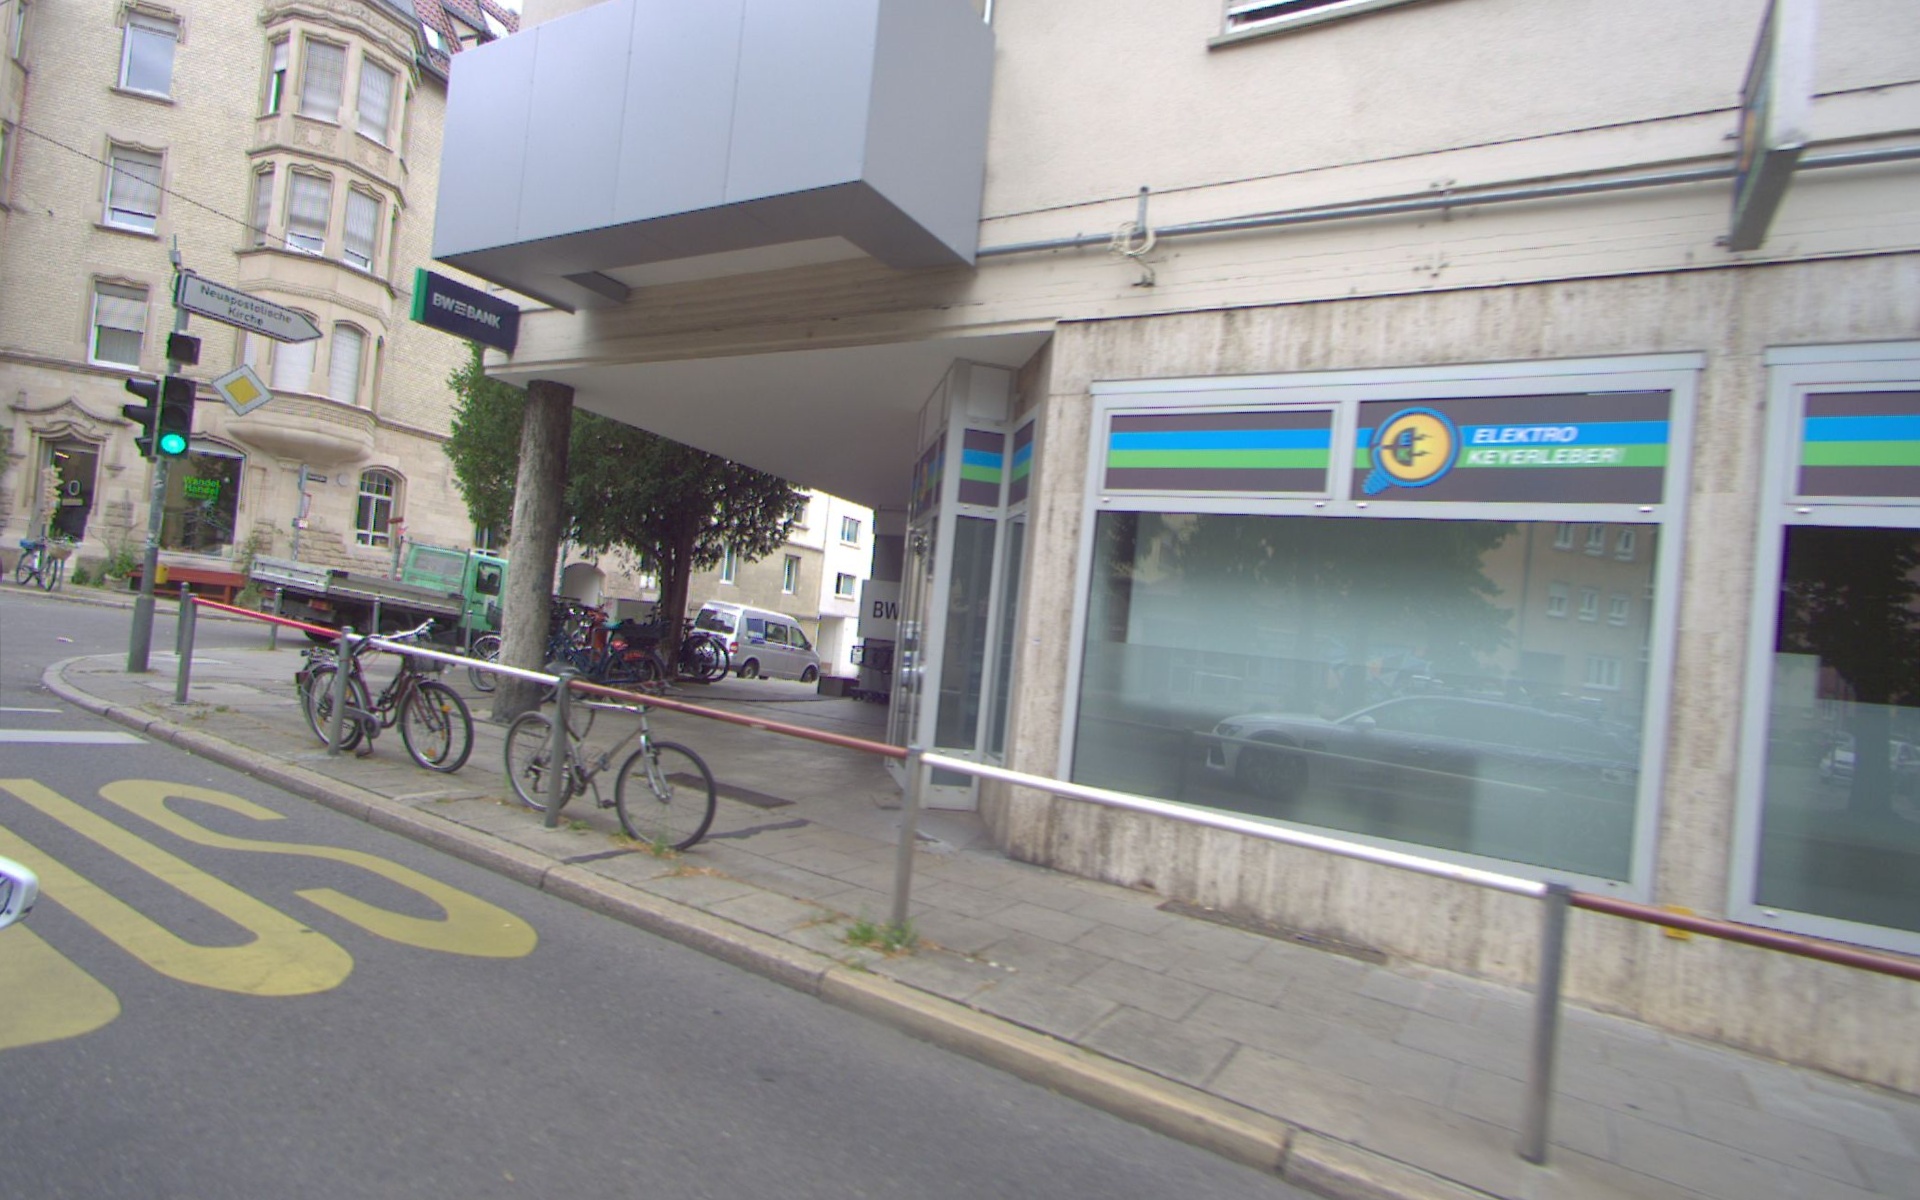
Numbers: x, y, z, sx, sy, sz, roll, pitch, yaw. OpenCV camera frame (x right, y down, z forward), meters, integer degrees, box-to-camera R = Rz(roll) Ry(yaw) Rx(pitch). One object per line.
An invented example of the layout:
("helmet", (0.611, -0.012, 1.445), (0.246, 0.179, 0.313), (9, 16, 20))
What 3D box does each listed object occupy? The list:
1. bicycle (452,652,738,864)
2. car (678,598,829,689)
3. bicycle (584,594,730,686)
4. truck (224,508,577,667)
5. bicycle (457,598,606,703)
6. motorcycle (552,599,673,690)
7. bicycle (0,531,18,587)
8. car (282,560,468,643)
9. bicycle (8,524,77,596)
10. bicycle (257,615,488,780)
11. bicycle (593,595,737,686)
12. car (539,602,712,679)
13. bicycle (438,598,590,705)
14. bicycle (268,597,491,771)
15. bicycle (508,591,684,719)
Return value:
("bicycle", (-2.229, 0.893, 6.060), (1.745, 0.942, 0.570), (6, -2, 32))
("car", (-6.000, 1.362, 29.778), (1.849, 2.150, 4.481), (6, -4, 25))
("bicycle", (-4.869, 0.632, 16.148), (2.283, 1.201, 0.278), (7, -1, 12))
("truck", (-10.515, -0.069, 19.600), (2.338, 2.155, 5.586), (7, -4, 22))
("bicycle", (-5.267, 0.613, 12.347), (1.727, 1.055, 0.319), (7, -1, 14))
("motorcycle", (-5.127, 0.641, 14.806), (1.772, 1.118, 0.571), (6, -2, 32))
("bicycle", (-19.917, -0.917, 20.548), (1.803, 1.070, 0.350), (7, -3, 30))
("car", (-14.222, 0.089, 24.641), (1.832, 1.498, 3.373), (6, -4, 25))
("bicycle", (-19.160, -0.847, 21.002), (1.803, 1.176, 0.447), (12, 3, 30))
("bicycle", (-4.260, 0.678, 7.269), (1.728, 0.942, 0.287), (6, -1, 19))
("bicycle", (-4.821, 0.651, 16.419), (2.283, 1.201, 0.278), (7, -1, 12))
("car", (-8.219, 1.055, 25.070), (1.814, 1.422, 3.826), (6, -4, 25))
("bicycle", (-5.339, 0.605, 12.037), (1.727, 1.055, 0.319), (7, -1, 14))
("bicycle", (-4.412, 0.611, 7.620), (1.728, 1.066, 0.287), (6, -1, 19))
("bicycle", (-4.099, 0.619, 11.372), (1.728, 1.212, 0.319), (7, -1, -1))
